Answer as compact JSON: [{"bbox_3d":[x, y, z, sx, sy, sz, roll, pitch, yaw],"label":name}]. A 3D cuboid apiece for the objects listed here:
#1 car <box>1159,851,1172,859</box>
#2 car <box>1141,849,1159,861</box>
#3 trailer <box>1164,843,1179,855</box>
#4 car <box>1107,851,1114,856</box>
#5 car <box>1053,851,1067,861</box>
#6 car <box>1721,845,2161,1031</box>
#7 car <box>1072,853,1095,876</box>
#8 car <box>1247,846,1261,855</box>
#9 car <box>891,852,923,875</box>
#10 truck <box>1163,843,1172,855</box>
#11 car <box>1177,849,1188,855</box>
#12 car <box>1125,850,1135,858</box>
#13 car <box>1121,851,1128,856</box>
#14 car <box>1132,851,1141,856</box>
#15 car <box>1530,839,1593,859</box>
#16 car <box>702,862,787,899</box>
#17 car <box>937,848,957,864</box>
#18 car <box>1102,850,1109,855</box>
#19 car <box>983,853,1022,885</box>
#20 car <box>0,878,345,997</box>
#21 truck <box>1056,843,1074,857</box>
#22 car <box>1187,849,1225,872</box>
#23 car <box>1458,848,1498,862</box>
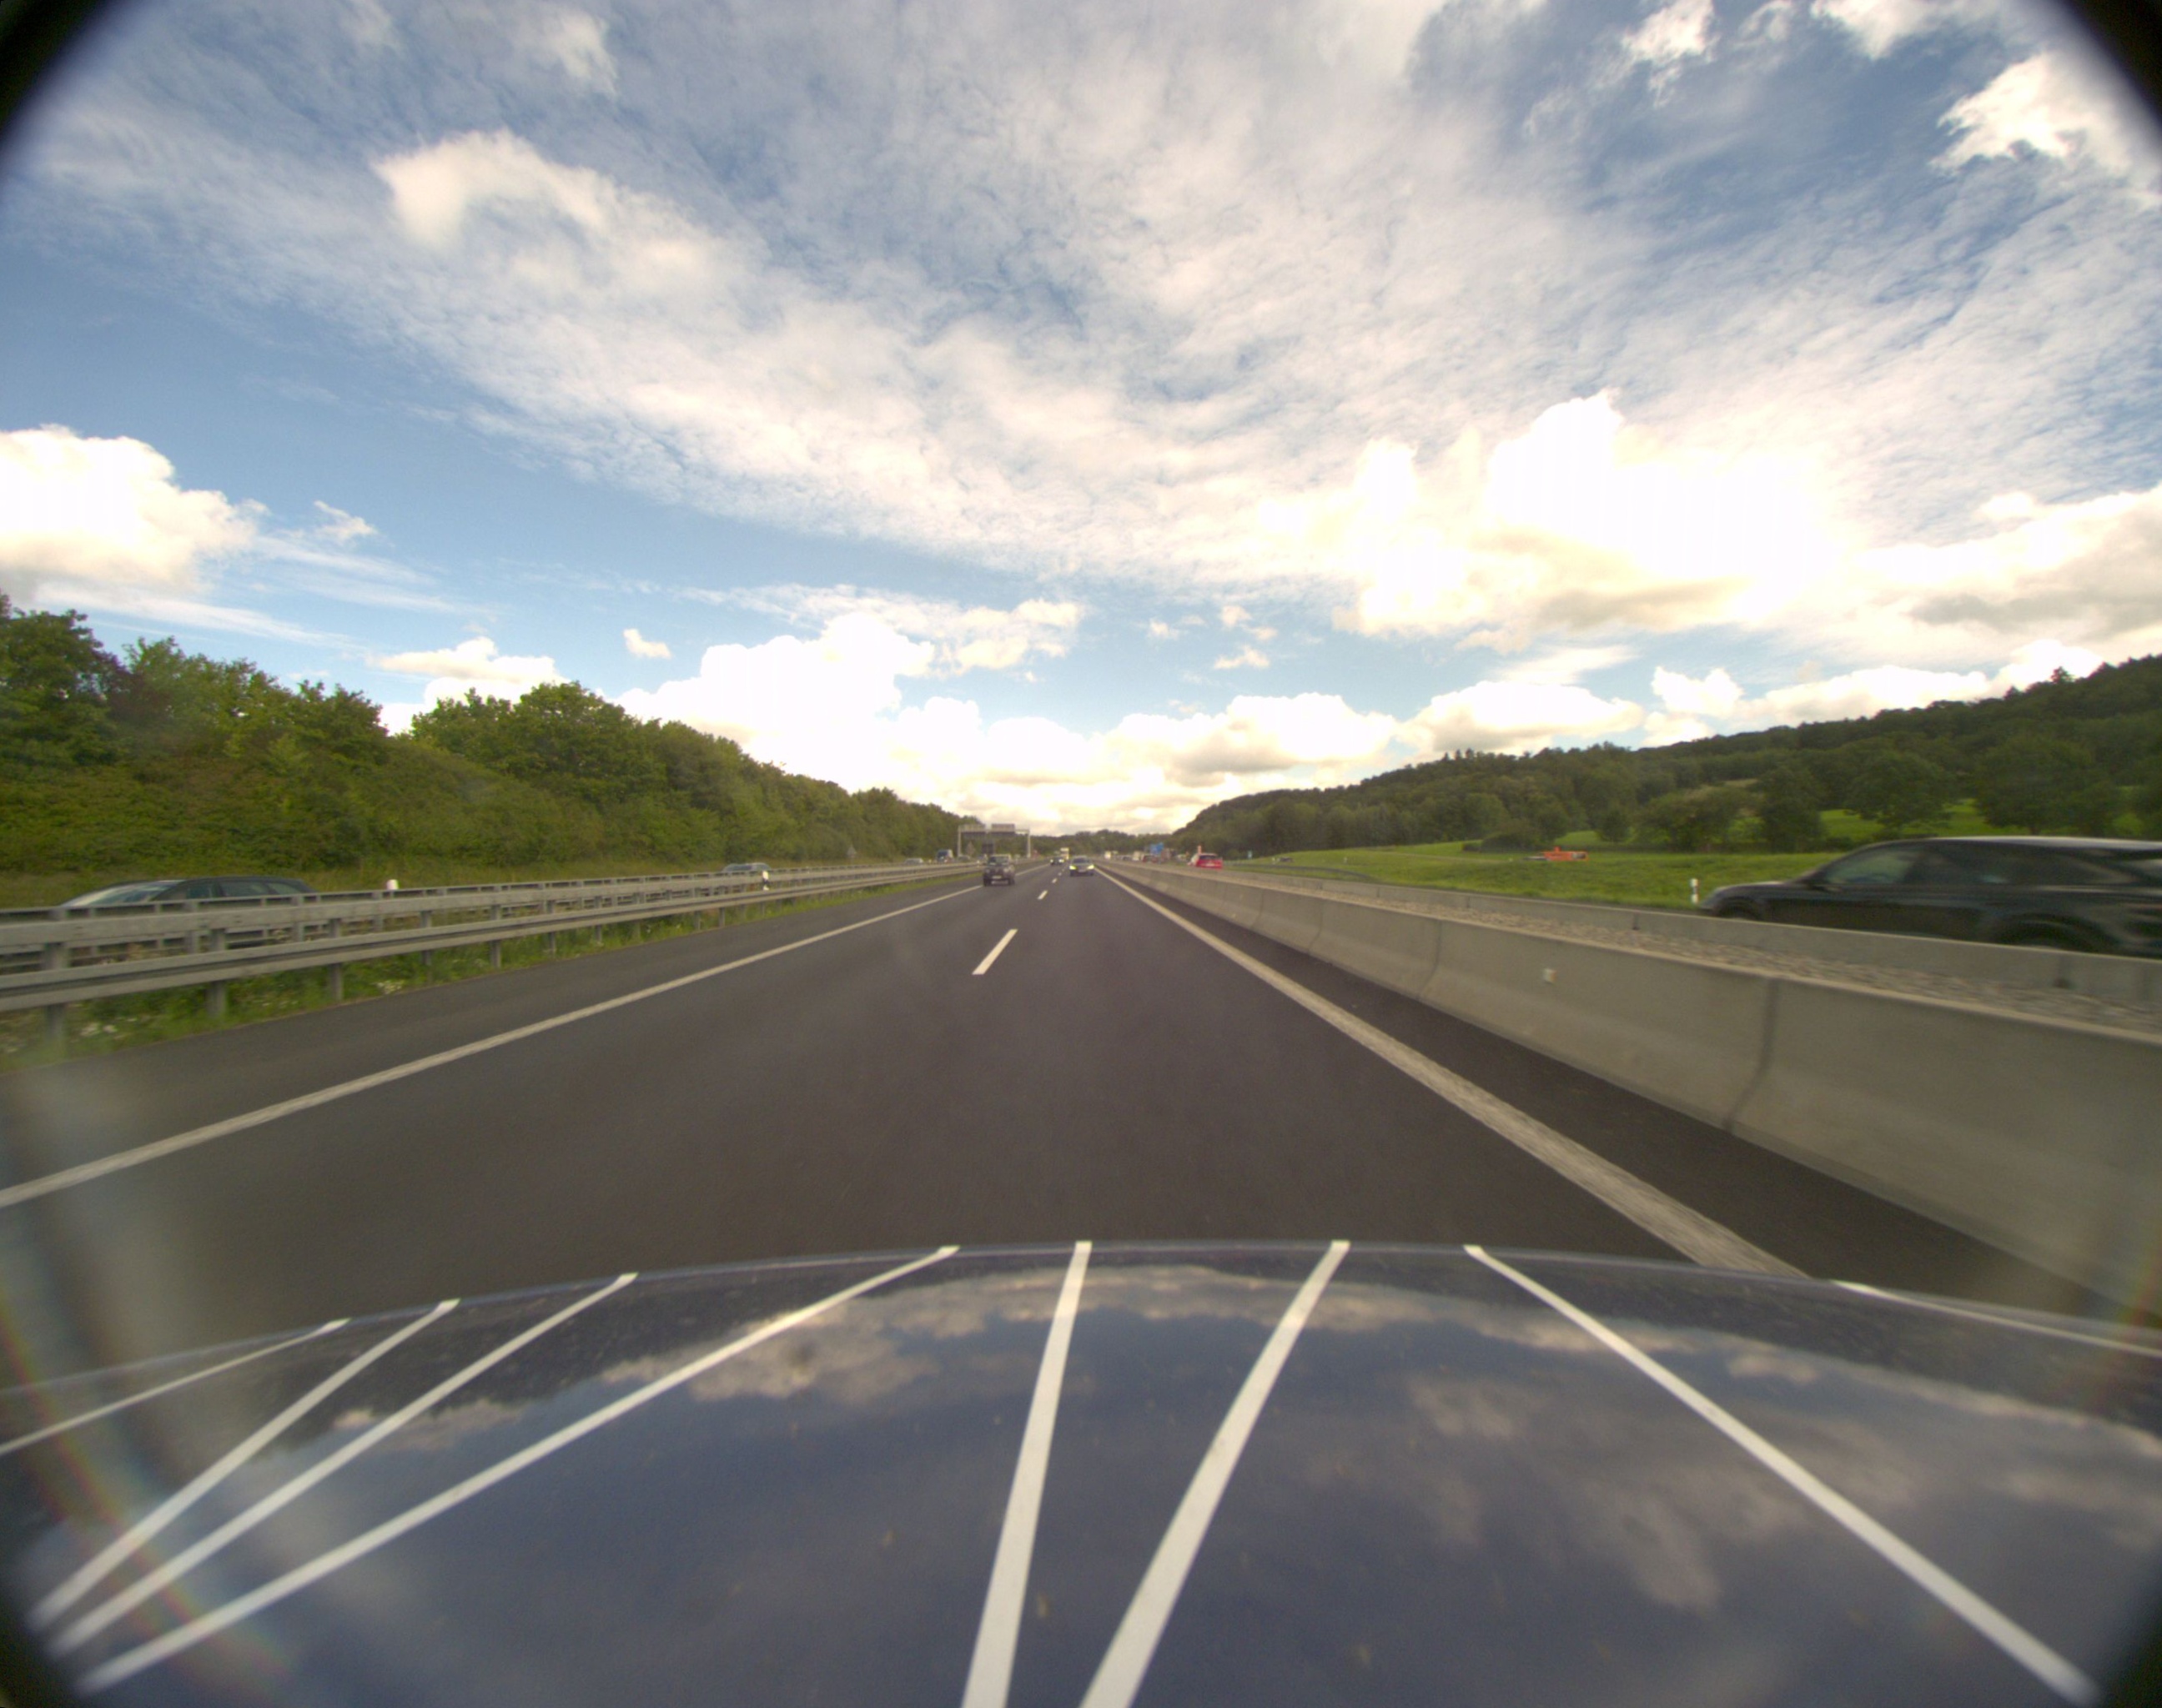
[{"bbox_3d":[13.850,0.136,124.943,1.732,1.390,4.157,0,1,0],"label":"car"},{"bbox_3d":[8.249,0.132,91.329,1.792,1.390,4.724,0,1,0],"label":"car"},{"bbox_3d":[27.841,-1.588,234.762,1.999,3.715,13.238,0,1,-4],"label":"trailer"},{"bbox_3d":[8.618,-0.173,221.977,1.999,1.523,5.746,0,1,0],"label":"car"},{"bbox_3d":[-3.463,0.385,126.582,1.998,1.591,4.000,0,1,2],"label":"car"},{"bbox_3d":[8.979,0.618,7.265,1.792,1.390,4.622,0,1,0],"label":"car"},{"bbox_3d":[0.230,0.799,59.521,1.724,1.722,3.938,-1,1,1],"label":"car"},{"bbox_3d":[39.008,-0.909,171.788,1.999,2.002,3.998,0,1,-4],"label":"car"},{"bbox_3d":[-16.081,0.857,70.507,1.998,2.002,3.999,0,1,0],"label":"car"},{"bbox_3d":[27.377,-1.635,241.104,1.999,3.740,5.147,0,1,-5],"label":"truck"},{"bbox_3d":[26.821,-0.540,200.792,1.778,1.539,4.887,0,1,-5],"label":"car"},{"bbox_3d":[9.233,0.029,142.681,1.646,1.390,3.741,0,1,0],"label":"car"},{"bbox_3d":[13.117,-0.138,228.716,1.999,1.523,4.506,0,1,0],"label":"car"},{"bbox_3d":[16.716,-0.132,228.573,1.778,1.392,4.395,0,1,-8],"label":"car"},{"bbox_3d":[39.483,-0.411,62.558,1.778,1.539,4.887,0,1,-5],"label":"car"},{"bbox_3d":[-15.196,1.151,34.602,1.999,1.476,4.309,-1,1,-1],"label":"car"},{"bbox_3d":[-19.444,0.232,110.648,1.999,2.173,5.127,-1,1,-1],"label":"car"},{"bbox_3d":[7.805,-0.627,244.186,1.999,1.523,5.020,0,1,0],"label":"car"},{"bbox_3d":[-4.488,0.831,43.836,1.670,1.722,4.207,-1,1,1],"label":"car"},{"bbox_3d":[-15.124,1.237,12.572,1.999,1.476,3.999,-1,1,-1],"label":"car"},{"bbox_3d":[-5.043,-1.323,244.504,4.948,4.306,14.628,0,1,1],"label":"truck"},{"bbox_3d":[8.358,0.405,51.149,1.792,1.390,4.798,0,1,0],"label":"car"},{"bbox_3d":[46.976,0.094,89.994,1.778,1.539,4.887,0,1,-5],"label":"car"}]
